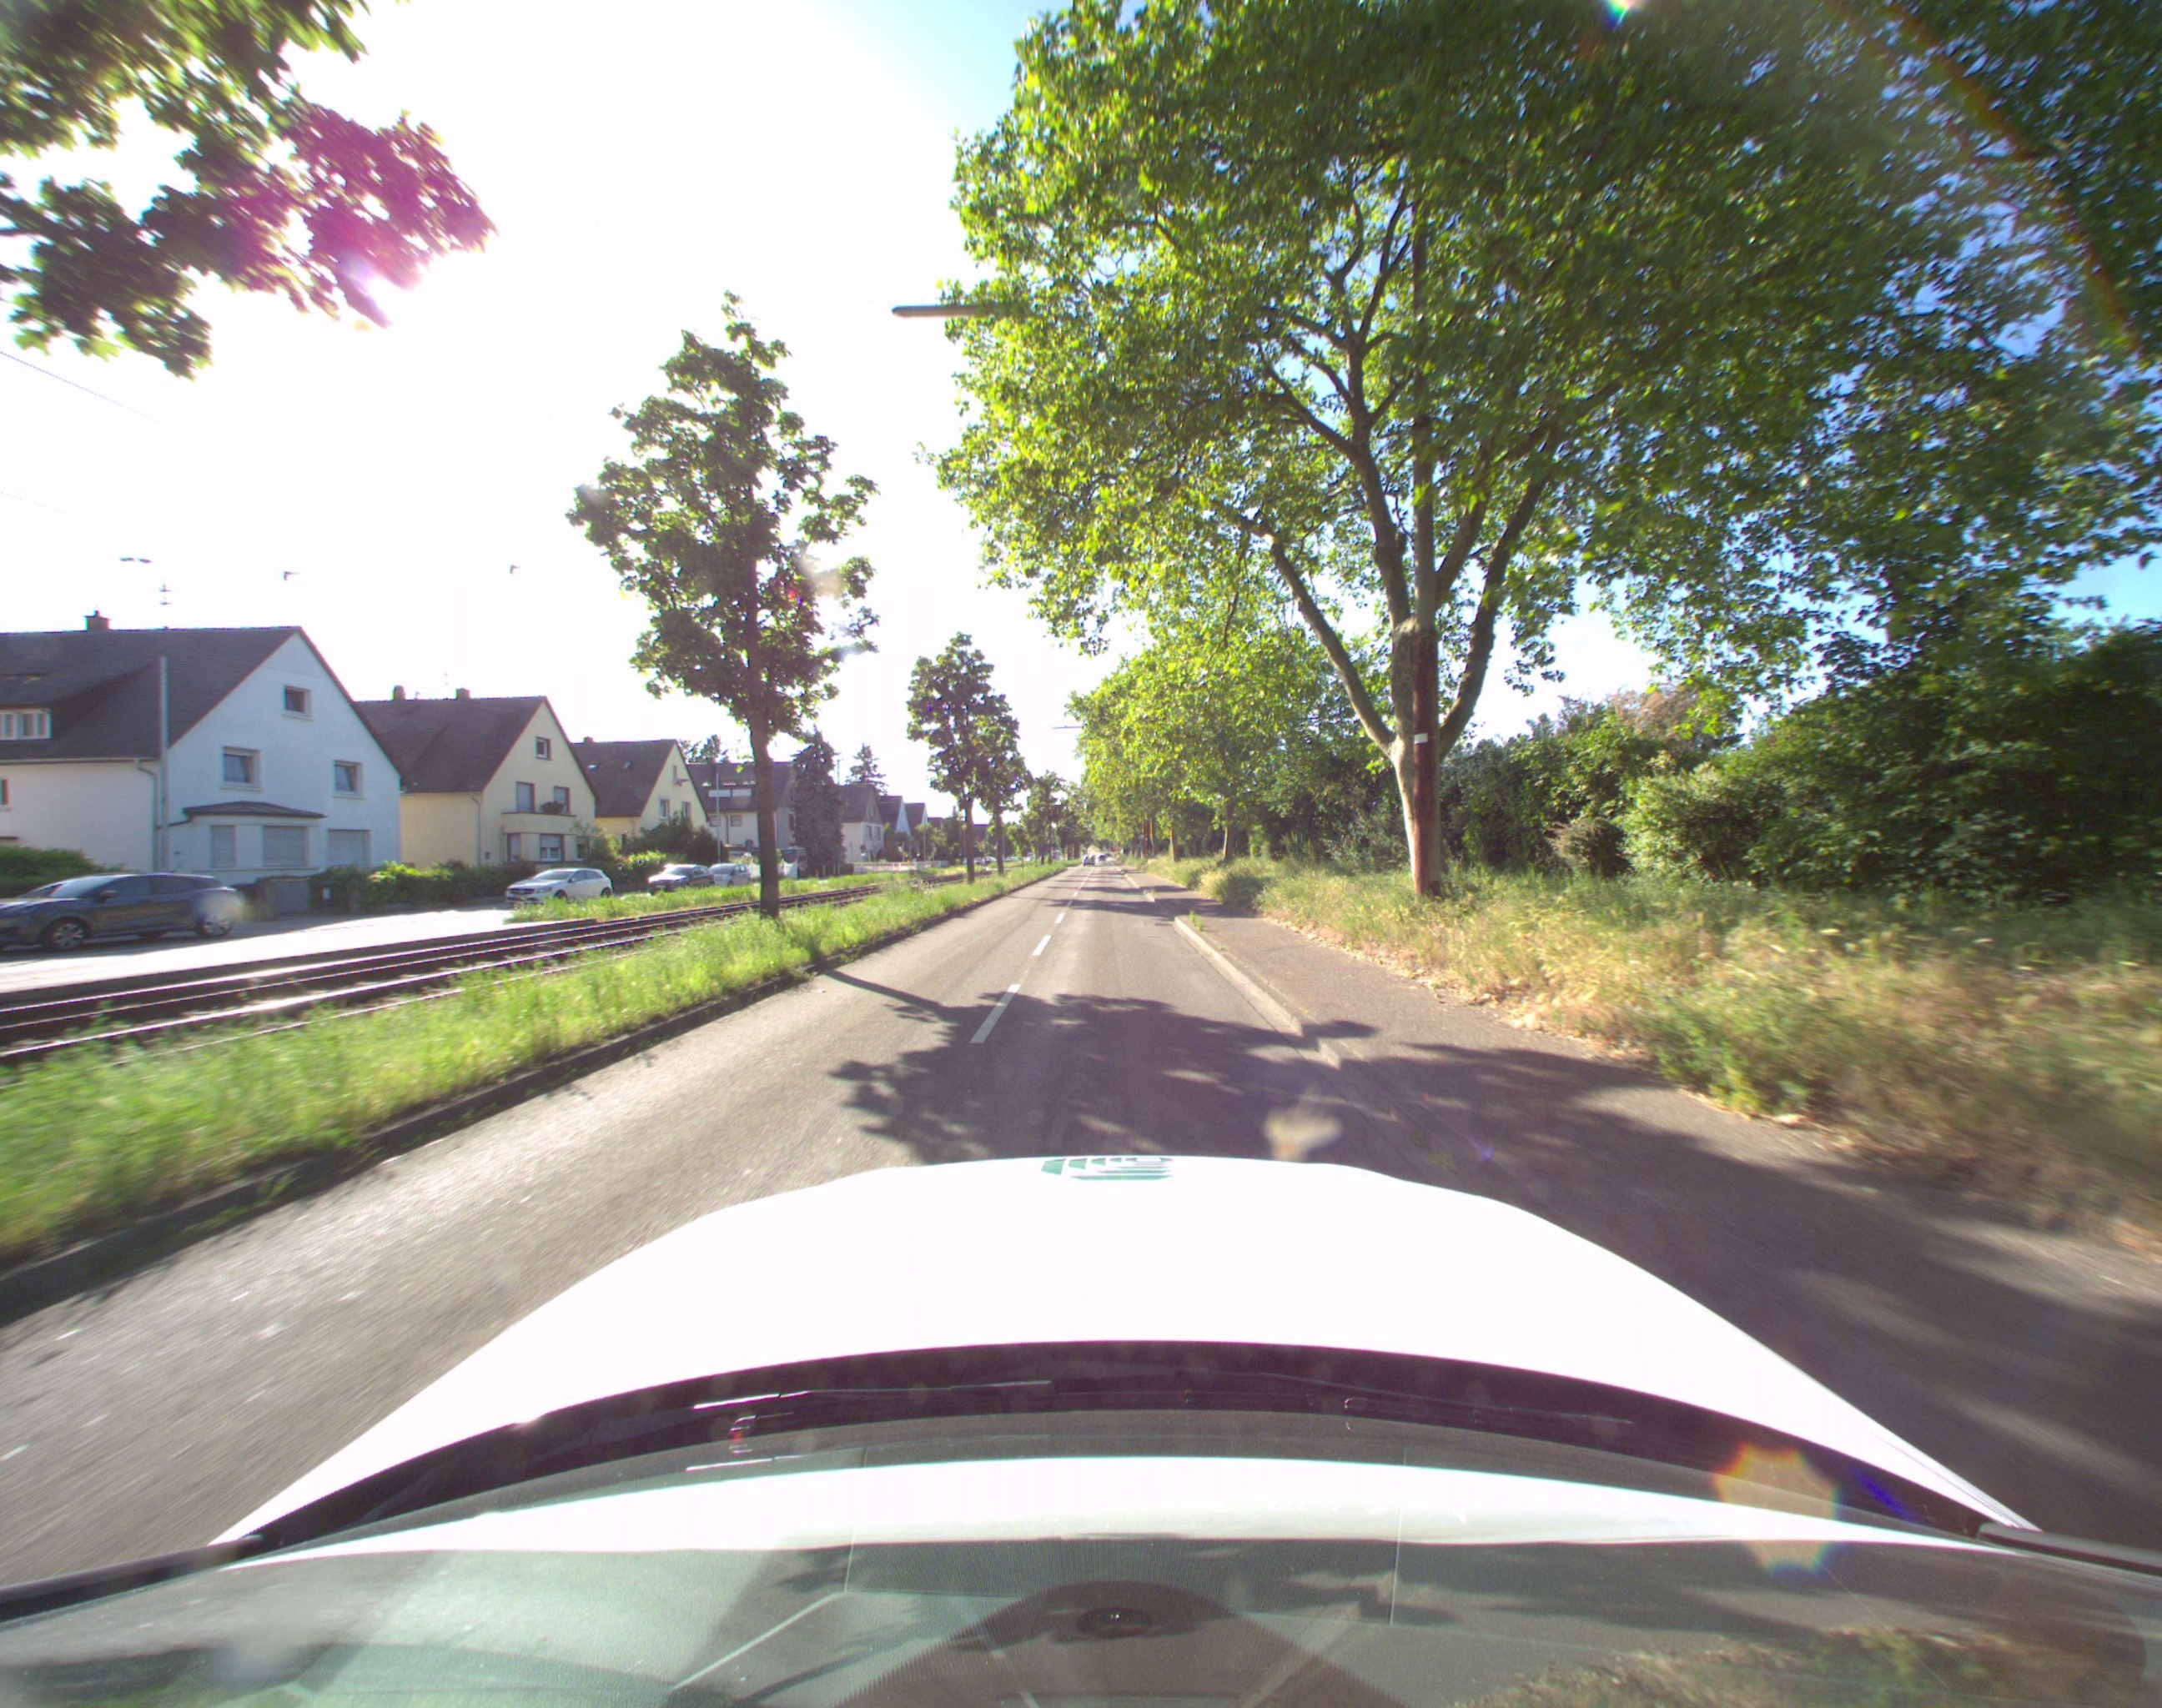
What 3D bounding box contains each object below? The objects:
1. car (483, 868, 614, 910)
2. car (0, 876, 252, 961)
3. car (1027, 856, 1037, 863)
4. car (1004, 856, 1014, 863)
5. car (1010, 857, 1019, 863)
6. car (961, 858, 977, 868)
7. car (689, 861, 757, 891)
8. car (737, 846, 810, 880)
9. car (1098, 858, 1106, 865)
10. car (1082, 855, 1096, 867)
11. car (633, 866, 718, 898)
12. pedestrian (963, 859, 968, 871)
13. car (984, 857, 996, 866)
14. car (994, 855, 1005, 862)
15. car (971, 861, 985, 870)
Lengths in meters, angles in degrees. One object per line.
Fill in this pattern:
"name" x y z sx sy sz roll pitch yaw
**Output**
"car" -20.340 1.292 31.377 1.985 1.426 4.414 0 0 3
"car" -20.898 1.276 17.401 1.919 1.495 4.257 0 0 1
"car" -11.656 1.292 194.502 1.986 1.603 4.474 0 0 1
"car" -16.575 1.284 187.336 1.853 1.413 4.159 0 0 1
"car" -16.060 1.376 197.310 1.853 1.431 4.462 0 0 1
"car" -17.702 1.422 129.086 1.853 1.542 4.228 0 0 1
"car" -19.826 1.189 45.302 1.940 1.553 4.057 0 0 1
"car" -25.027 0.700 66.385 5.010 2.625 2.103 -1 0 1
"car" 4.828 1.710 187.230 1.986 1.603 4.474 0 0 1
"car" 1.093 0.937 112.658 1.853 1.601 4.228 0 0 1
"car" -20.046 1.349 40.473 1.986 1.450 4.129 2 0 1
"pedestrian" -19.828 1.936 140.056 0.678 2.014 0.772 0 -1 1
"car" -16.649 1.408 149.304 1.742 1.651 4.556 0 0 1
"car" -16.916 1.005 168.655 1.853 1.369 4.228 0 0 1
"car" -17.460 1.927 137.953 1.723 1.466 4.603 0 0 1
